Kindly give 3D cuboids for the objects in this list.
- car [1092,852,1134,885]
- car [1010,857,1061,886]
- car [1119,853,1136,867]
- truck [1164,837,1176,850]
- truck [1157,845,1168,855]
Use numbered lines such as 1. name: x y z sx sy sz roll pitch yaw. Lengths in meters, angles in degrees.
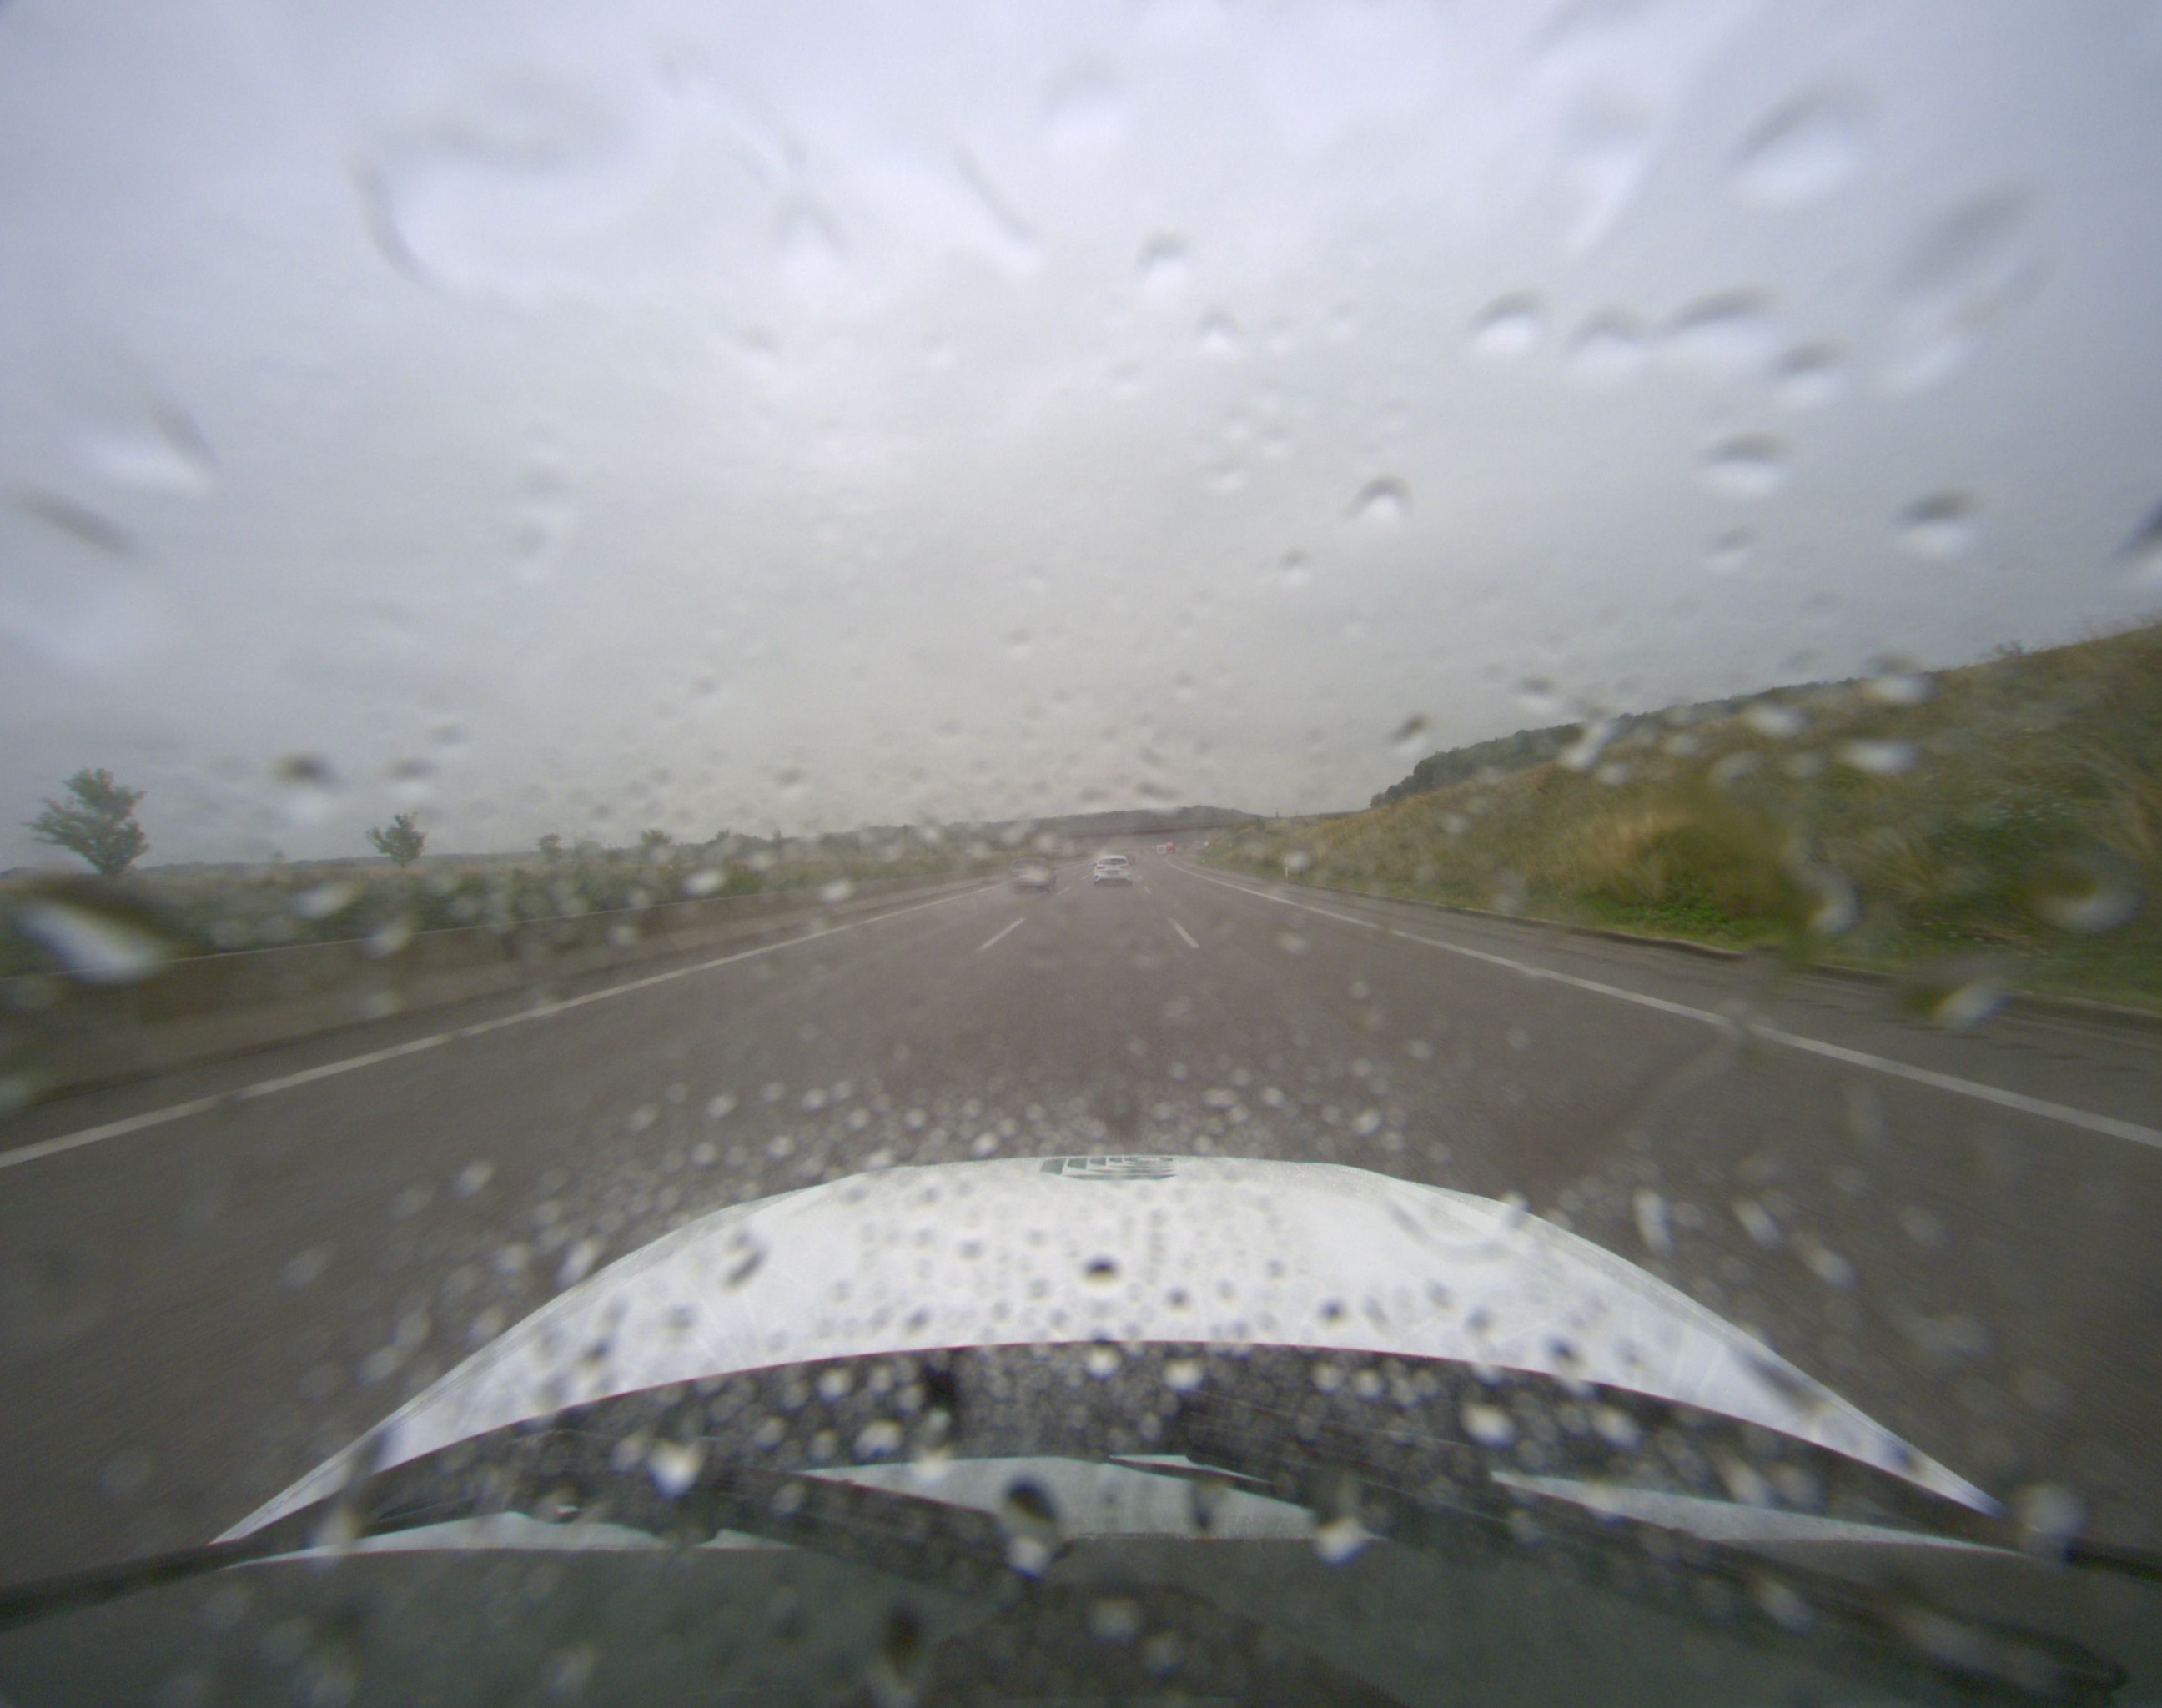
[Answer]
1. car: 1.496 0.666 39.198 1.861 1.463 4.000 -1 0 0
2. car: -1.848 0.715 34.386 1.817 1.156 4.213 -1 -1 1
3. car: 5.565 0.669 98.477 1.985 1.618 4.003 -1 0 3
4. truck: 27.876 -3.367 255.464 3.509 3.742 11.446 -1 1 6
5. truck: 19.862 -1.045 198.045 2.394 2.252 4.704 -1 0 8
